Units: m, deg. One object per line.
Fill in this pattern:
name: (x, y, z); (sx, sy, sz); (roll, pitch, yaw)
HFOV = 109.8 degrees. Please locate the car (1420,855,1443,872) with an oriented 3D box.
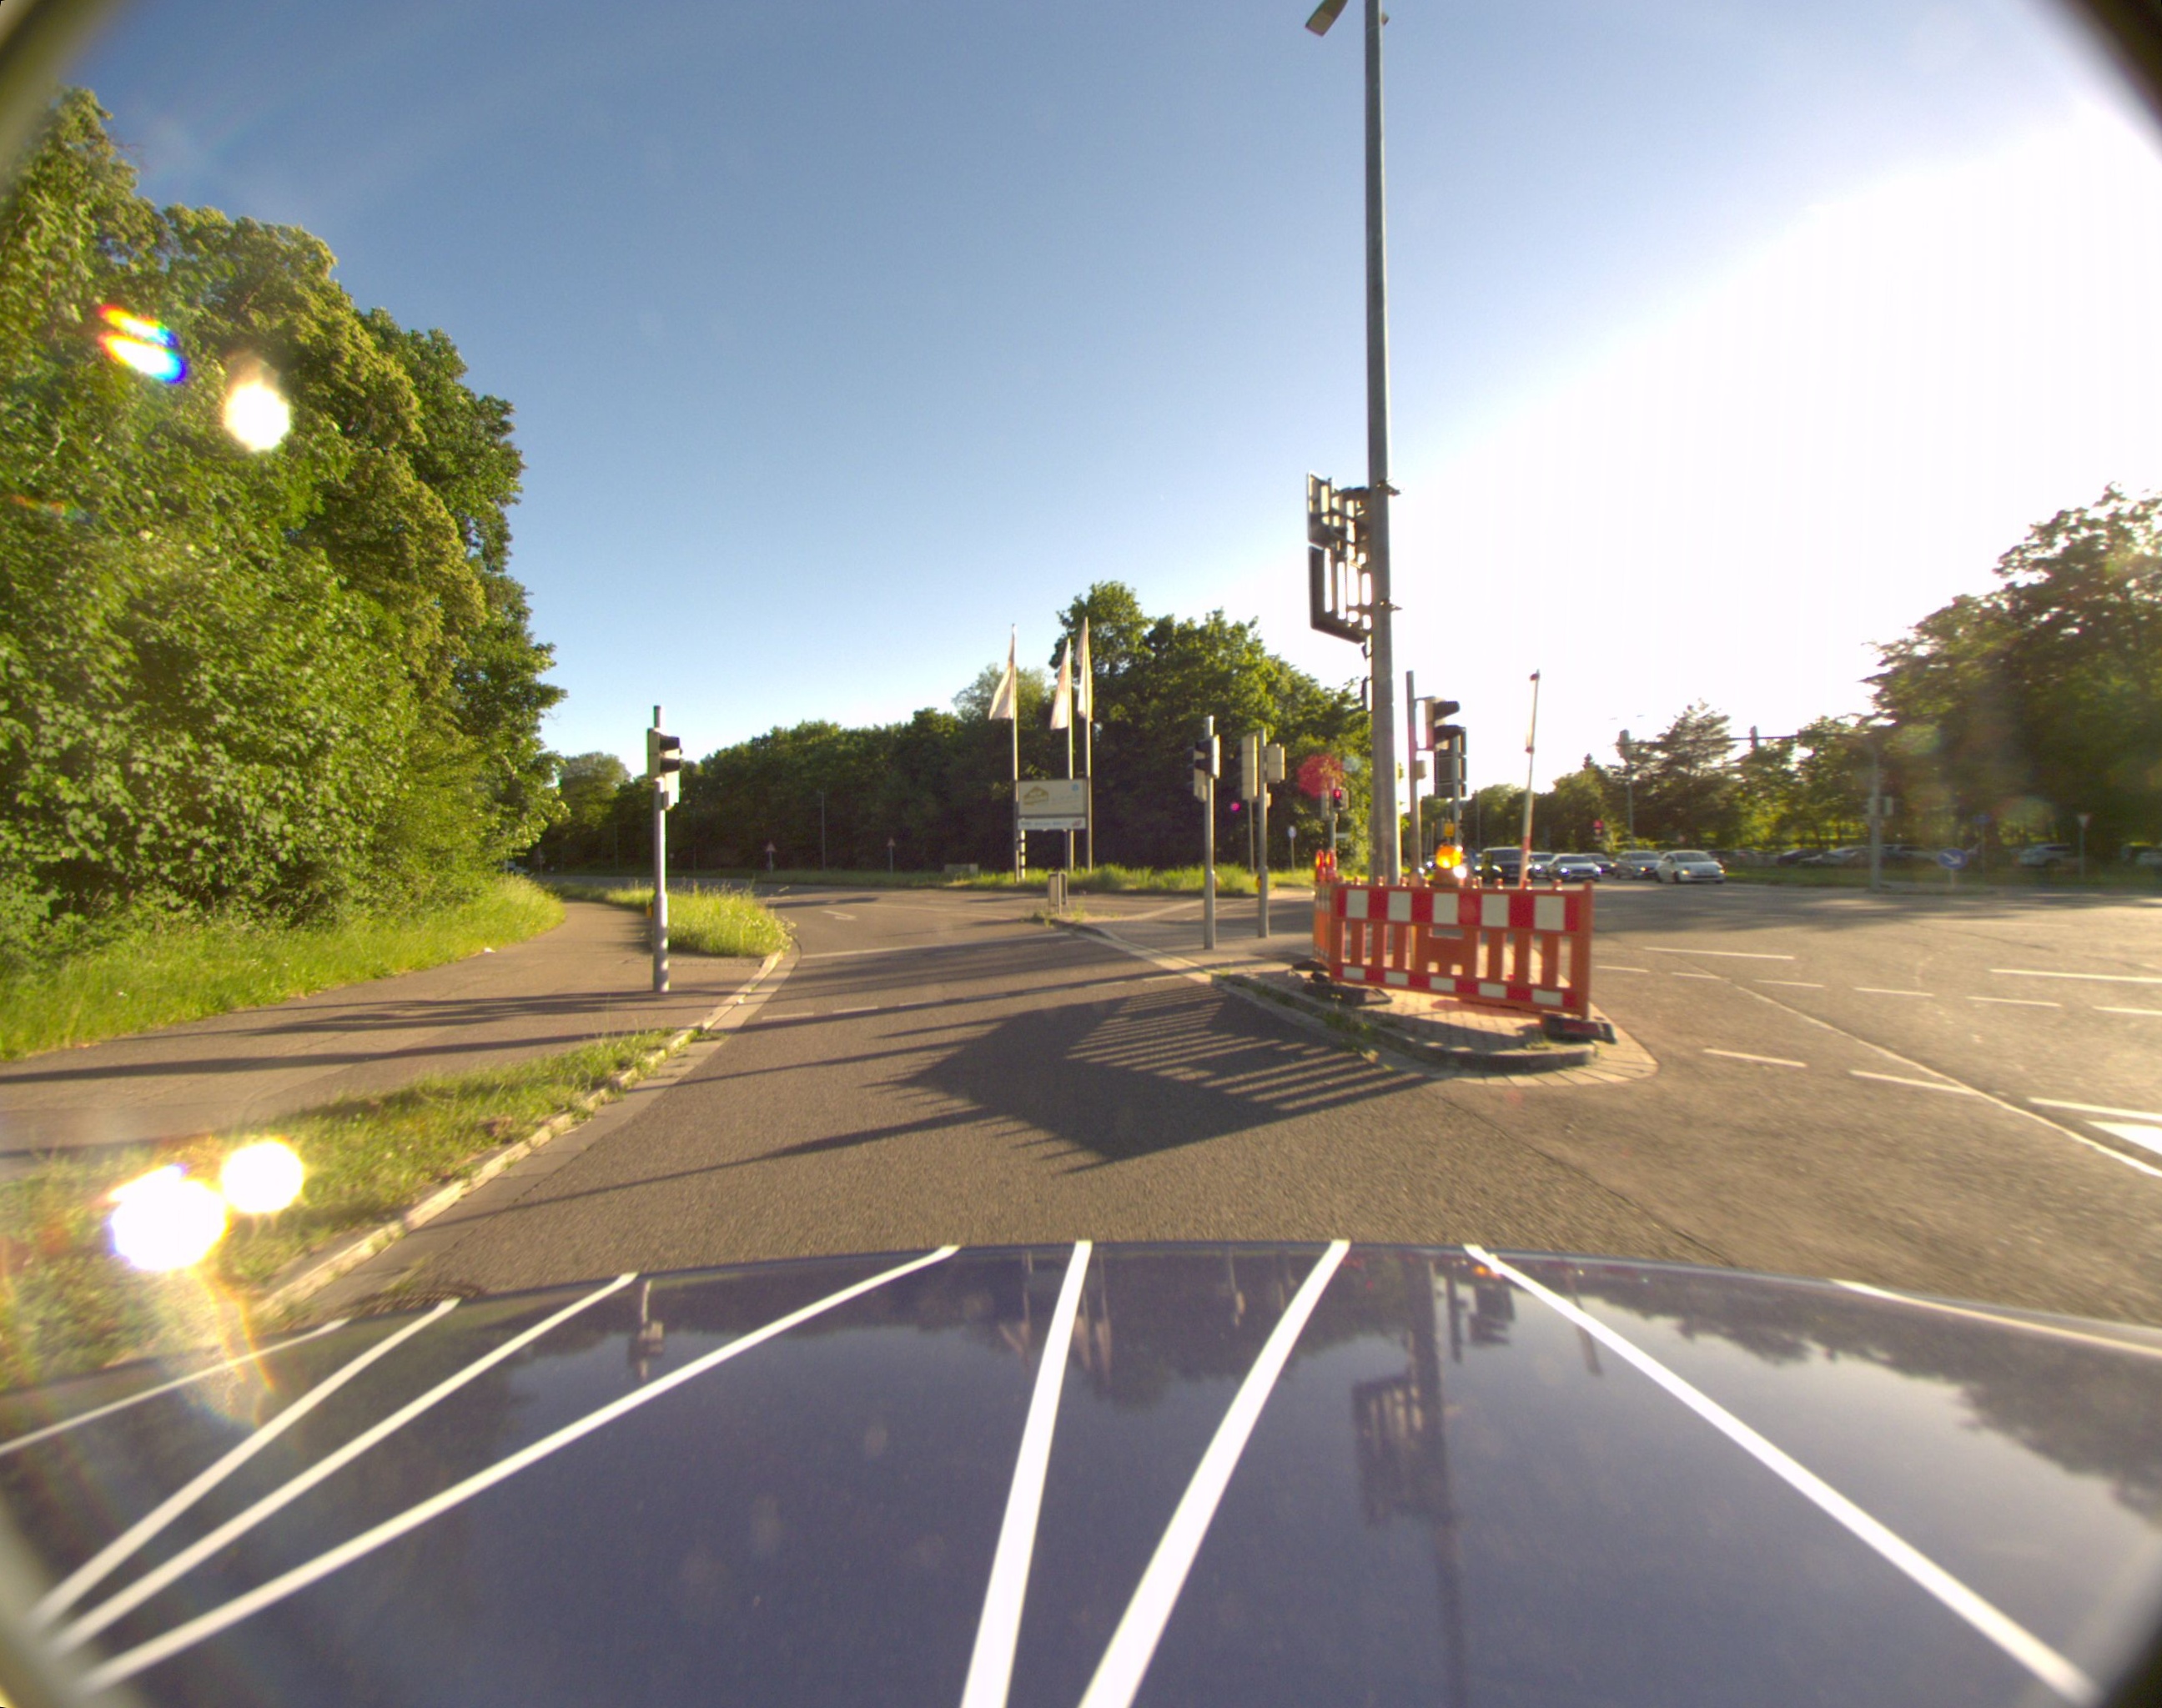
car: (35.677, 0.977, 77.372); (1.995, 1.510, 4.006); (-2, 1, 25)

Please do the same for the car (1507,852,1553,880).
car: (27.518, 0.714, 46.629); (1.995, 1.510, 4.006); (-2, 1, 25)

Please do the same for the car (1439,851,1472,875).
car: (26.747, 0.614, 54.408); (1.995, 1.510, 4.006); (-2, 1, 25)

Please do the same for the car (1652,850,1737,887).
car: (26.984, 0.585, 33.569); (1.995, 1.510, 4.007); (-1, 0, 25)

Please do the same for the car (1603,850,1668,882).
car: (29.210, 0.602, 40.149); (1.995, 1.510, 4.006); (-2, 1, 25)

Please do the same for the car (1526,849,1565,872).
car: (34.446, 0.493, 56.400); (1.995, 1.510, 4.006); (-2, 1, 25)

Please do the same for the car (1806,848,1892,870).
car: (56.952, 0.370, 56.424); (3.993, 1.510, 2.002); (-2, 1, 13)

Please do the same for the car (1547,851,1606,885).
car: (25.642, 0.692, 39.471); (1.995, 1.510, 4.006); (-2, 1, 25)

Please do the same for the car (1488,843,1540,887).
car: (22.414, 0.543, 39.475); (1.995, 2.057, 4.006); (-2, 1, 25)

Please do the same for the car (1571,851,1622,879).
car: (32.348, 0.670, 47.769); (1.995, 1.510, 4.006); (-2, 1, 25)
